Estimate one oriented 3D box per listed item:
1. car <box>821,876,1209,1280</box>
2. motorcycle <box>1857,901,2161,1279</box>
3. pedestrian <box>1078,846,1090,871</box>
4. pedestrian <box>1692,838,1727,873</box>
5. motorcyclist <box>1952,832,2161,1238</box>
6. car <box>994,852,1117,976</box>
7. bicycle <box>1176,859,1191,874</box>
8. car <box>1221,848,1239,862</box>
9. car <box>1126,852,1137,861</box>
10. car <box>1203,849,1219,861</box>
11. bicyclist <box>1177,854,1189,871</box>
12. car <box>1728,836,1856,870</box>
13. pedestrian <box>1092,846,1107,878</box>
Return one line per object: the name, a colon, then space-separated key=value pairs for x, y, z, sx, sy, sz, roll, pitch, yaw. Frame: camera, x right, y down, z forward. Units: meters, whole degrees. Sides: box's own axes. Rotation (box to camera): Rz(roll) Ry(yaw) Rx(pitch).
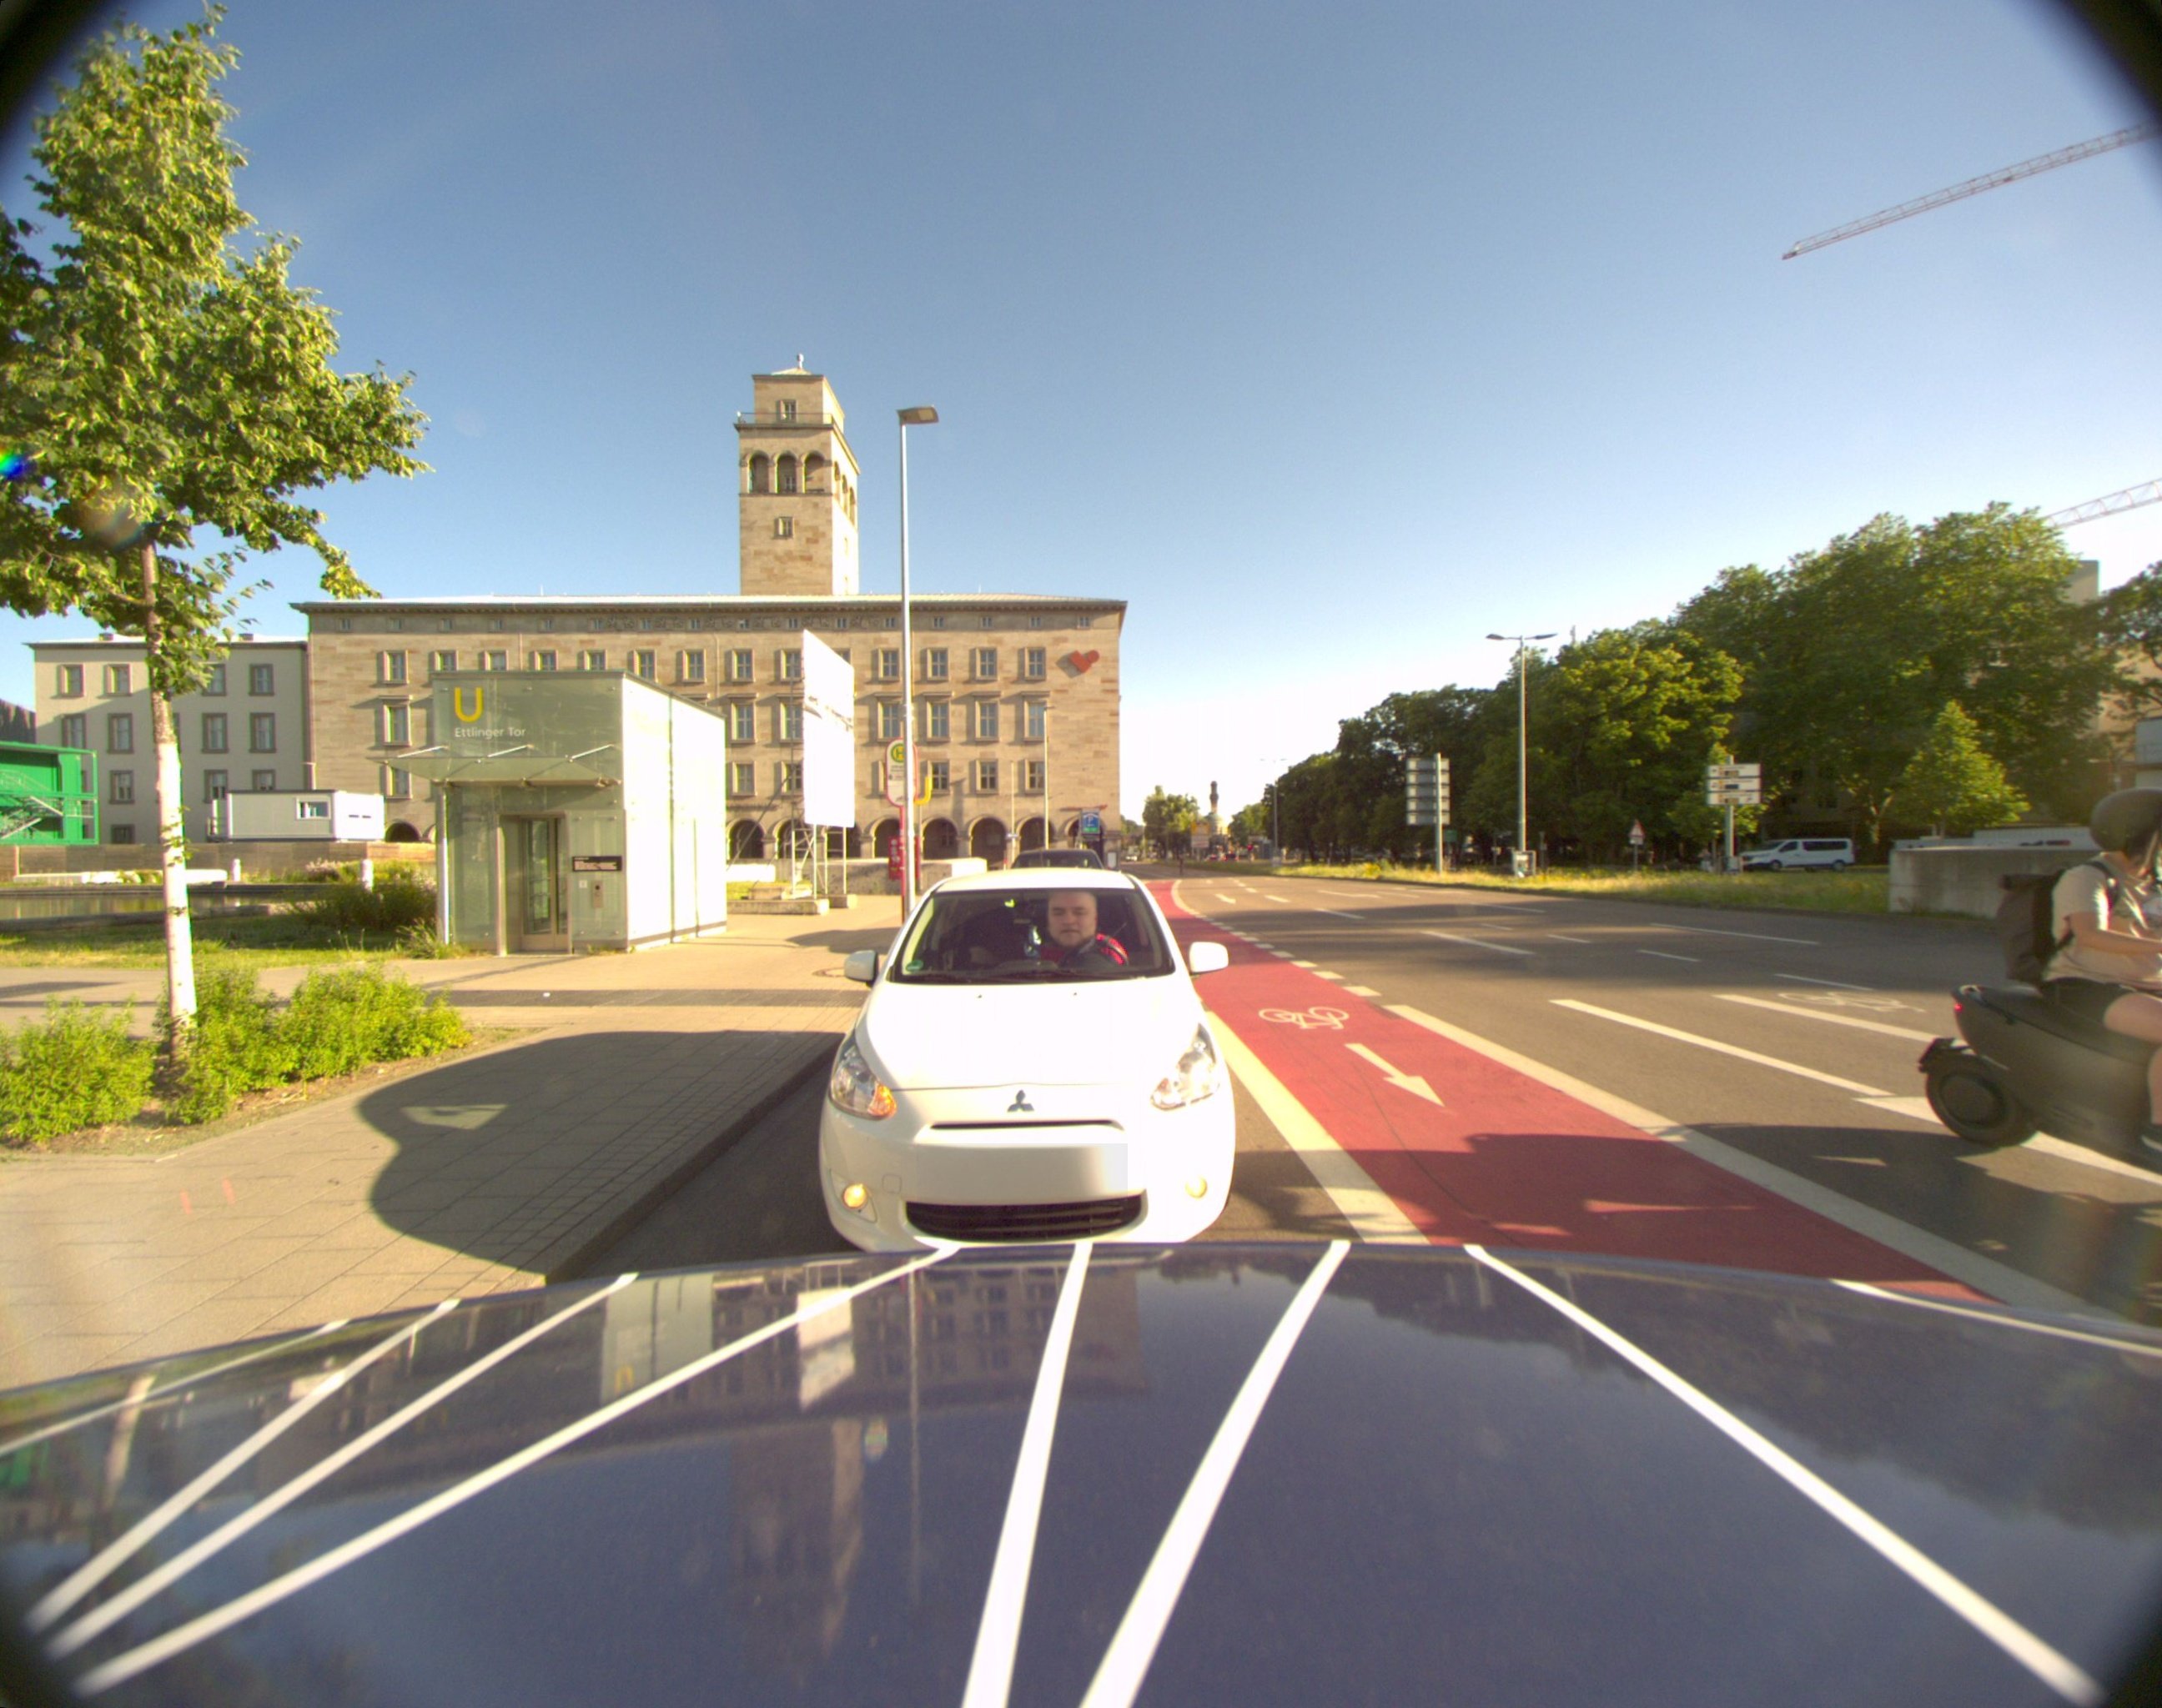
car: x=-0.238 y=0.949 z=4.838 sx=1.496 sy=1.477 sz=3.604 roll=-2 pitch=0 yaw=1
motorcycle: x=4.279 y=0.894 z=2.885 sx=0.724 sy=1.286 sz=1.884 roll=-2 pitch=0 yaw=1
pedestrian: x=0.330 y=0.481 z=80.278 sx=1.122 sy=2.524 sz=1.055 roll=-2 pitch=1 yaw=1
pedestrian: x=33.881 y=0.081 z=40.982 sx=0.989 sy=1.821 sz=1.019 roll=-2 pitch=1 yaw=-3
motorcyclist: x=4.271 y=0.650 z=2.938 sx=0.727 sy=1.466 sz=0.917 roll=-2 pitch=0 yaw=1
car: x=-0.378 y=0.834 z=12.518 sx=1.642 sy=1.653 sz=3.849 roll=-2 pitch=0 yaw=-1
bicycle: x=8.480 y=1.023 z=63.083 sx=0.854 sy=1.109 sz=2.808 roll=-2 pitch=0 yaw=1
car: x=21.581 y=0.106 z=110.163 sx=1.819 sy=1.817 sz=3.999 roll=-2 pitch=1 yaw=1
car: x=10.818 y=0.506 z=163.079 sx=1.877 sy=1.827 sz=4.584 roll=-2 pitch=1 yaw=-3
car: x=20.575 y=0.102 z=120.440 sx=1.747 sy=1.778 sz=3.947 roll=-2 pitch=1 yaw=1
bicyclist: x=8.482 y=0.677 z=63.098 sx=0.854 sy=1.340 sz=0.829 roll=-2 pitch=1 yaw=1
car: x=42.126 y=-0.058 z=45.112 sx=5.516 sy=1.924 sz=2.065 roll=-1 pitch=1 yaw=2
pedestrian: x=1.493 y=0.646 z=61.937 sx=1.122 sy=2.524 sz=1.055 roll=-2 pitch=1 yaw=1
